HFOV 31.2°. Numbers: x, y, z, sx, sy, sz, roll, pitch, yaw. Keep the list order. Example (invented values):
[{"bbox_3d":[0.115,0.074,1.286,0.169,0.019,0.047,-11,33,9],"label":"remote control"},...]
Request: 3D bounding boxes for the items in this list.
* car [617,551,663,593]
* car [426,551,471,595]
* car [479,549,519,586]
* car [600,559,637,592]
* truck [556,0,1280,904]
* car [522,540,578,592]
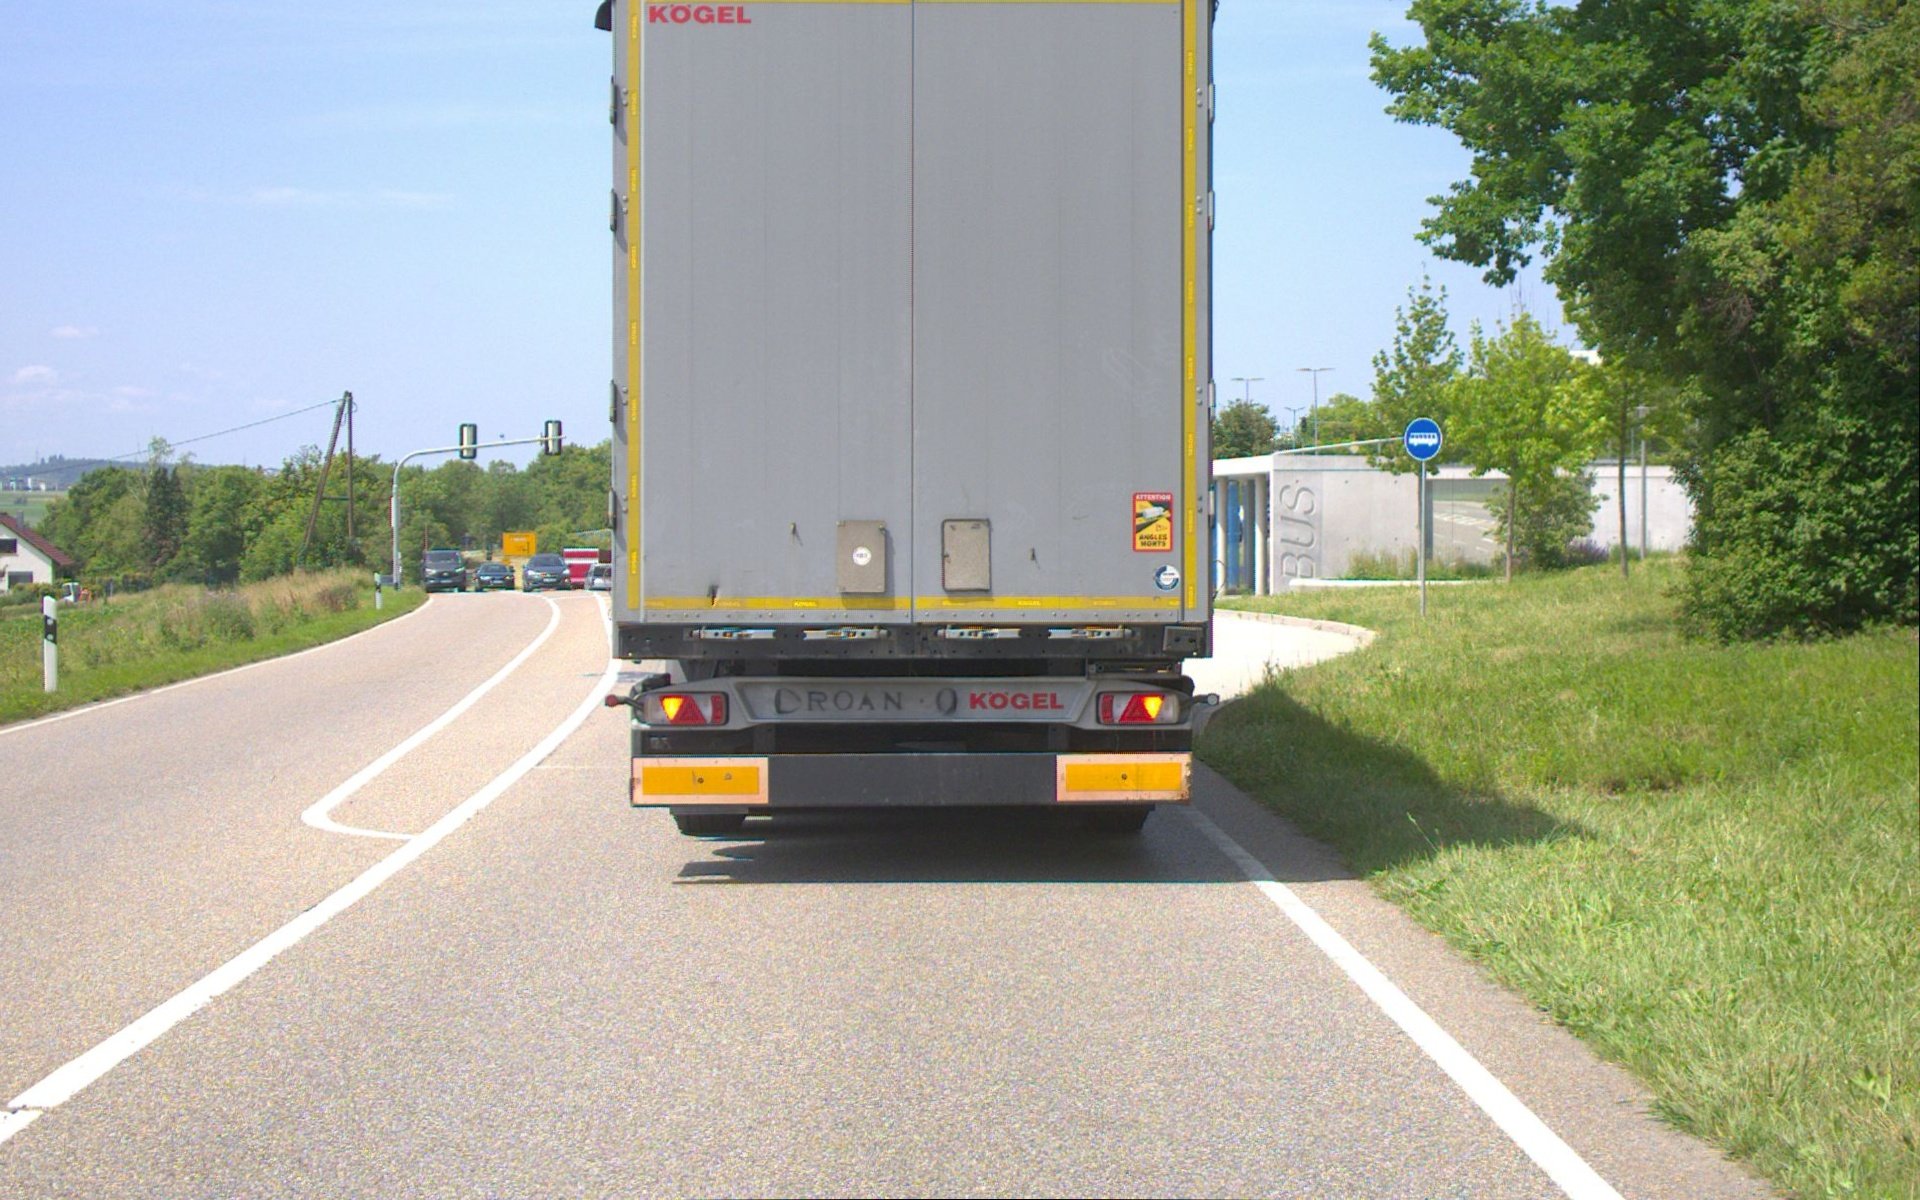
[{"bbox_3d":[-16.115,-1.428,173.221,2.171,2.007,4.527,-2,1,-4],"label":"car"},{"bbox_3d":[-24.339,-1.295,163.642,1.993,1.971,5.280,-3,1,-8],"label":"car"},{"bbox_3d":[-24.125,-1.719,180.034,1.993,1.809,4.297,-3,1,-7],"label":"car"},{"bbox_3d":[-19.189,-1.383,193.061,1.892,1.771,4.387,-2,1,-4],"label":"car"},{"bbox_3d":[-0.344,-1.060,18.393,2.907,4.394,8.861,1,1,-2],"label":"truck"},{"bbox_3d":[-16.397,-1.370,137.751,1.993,1.943,4.503,-3,1,-5],"label":"car"}]
